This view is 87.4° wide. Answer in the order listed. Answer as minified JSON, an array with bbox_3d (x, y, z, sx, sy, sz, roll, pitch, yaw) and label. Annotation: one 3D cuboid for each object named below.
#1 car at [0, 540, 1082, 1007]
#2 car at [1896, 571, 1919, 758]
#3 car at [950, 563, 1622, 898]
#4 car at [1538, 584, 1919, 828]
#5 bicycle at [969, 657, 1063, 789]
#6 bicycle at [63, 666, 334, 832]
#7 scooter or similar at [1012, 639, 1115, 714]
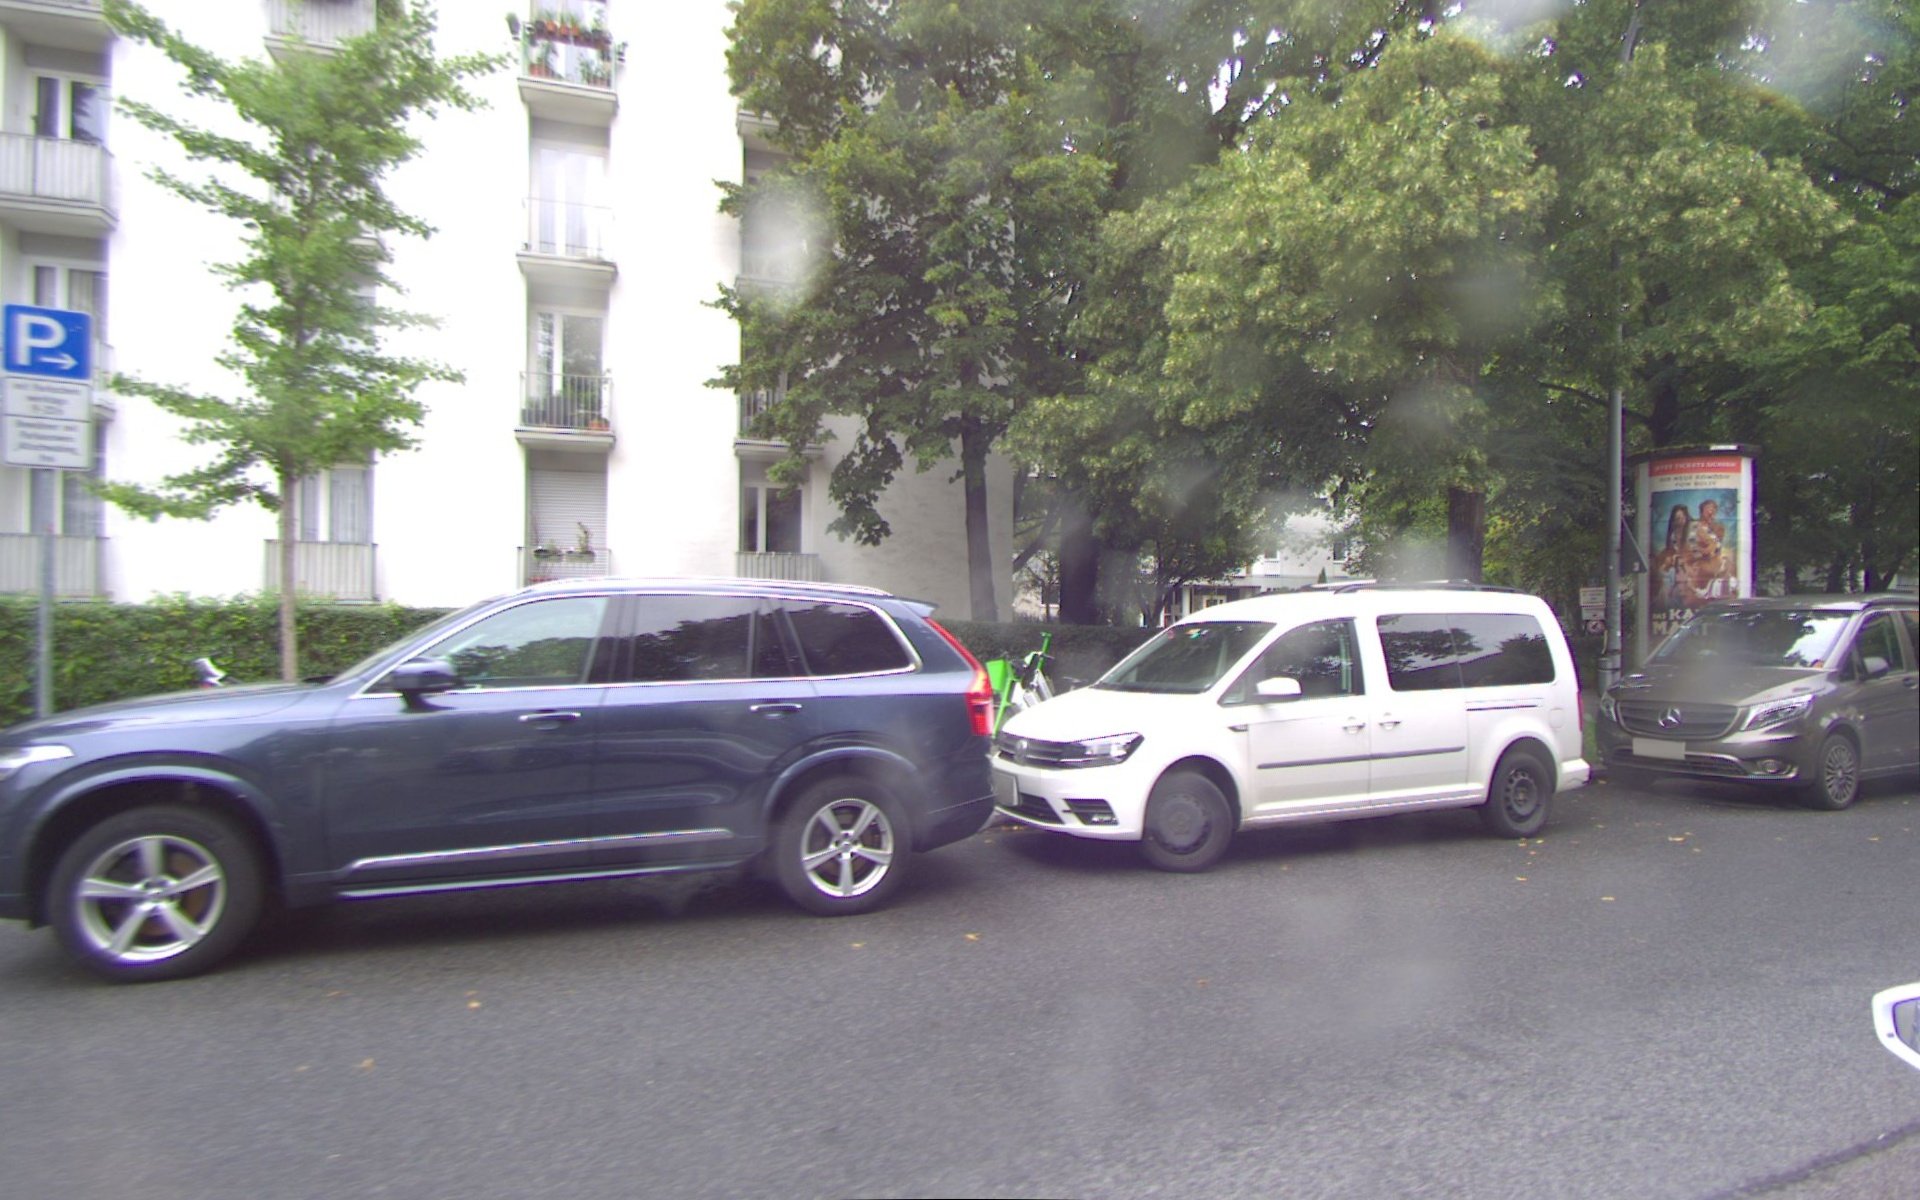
[{"bbox_3d":[-1.988,0.770,5.543,4.984,1.791,1.877,2,-2,-21],"label":"car"},{"bbox_3d":[14.991,0.915,13.252,5.336,2.379,2.108,3,-2,-26],"label":"car"},{"bbox_3d":[2.470,0.837,7.651,4.761,1.962,1.877,1,-2,-21],"label":"car"},{"bbox_3d":[8.590,0.949,10.271,5.387,1.989,1.939,1,-2,-26],"label":"car"},{"bbox_3d":[0.533,1.139,9.528,0.684,1.166,0.558,0,-2,34],"label":"bicycle"},{"bbox_3d":[-5.154,0.980,6.900,1.404,1.027,0.463,3,-2,-33],"label":"bicycle"},{"bbox_3d":[1.637,1.205,15.803,1.542,1.132,0.540,2,-2,-24],"label":"scooter or similar"}]
